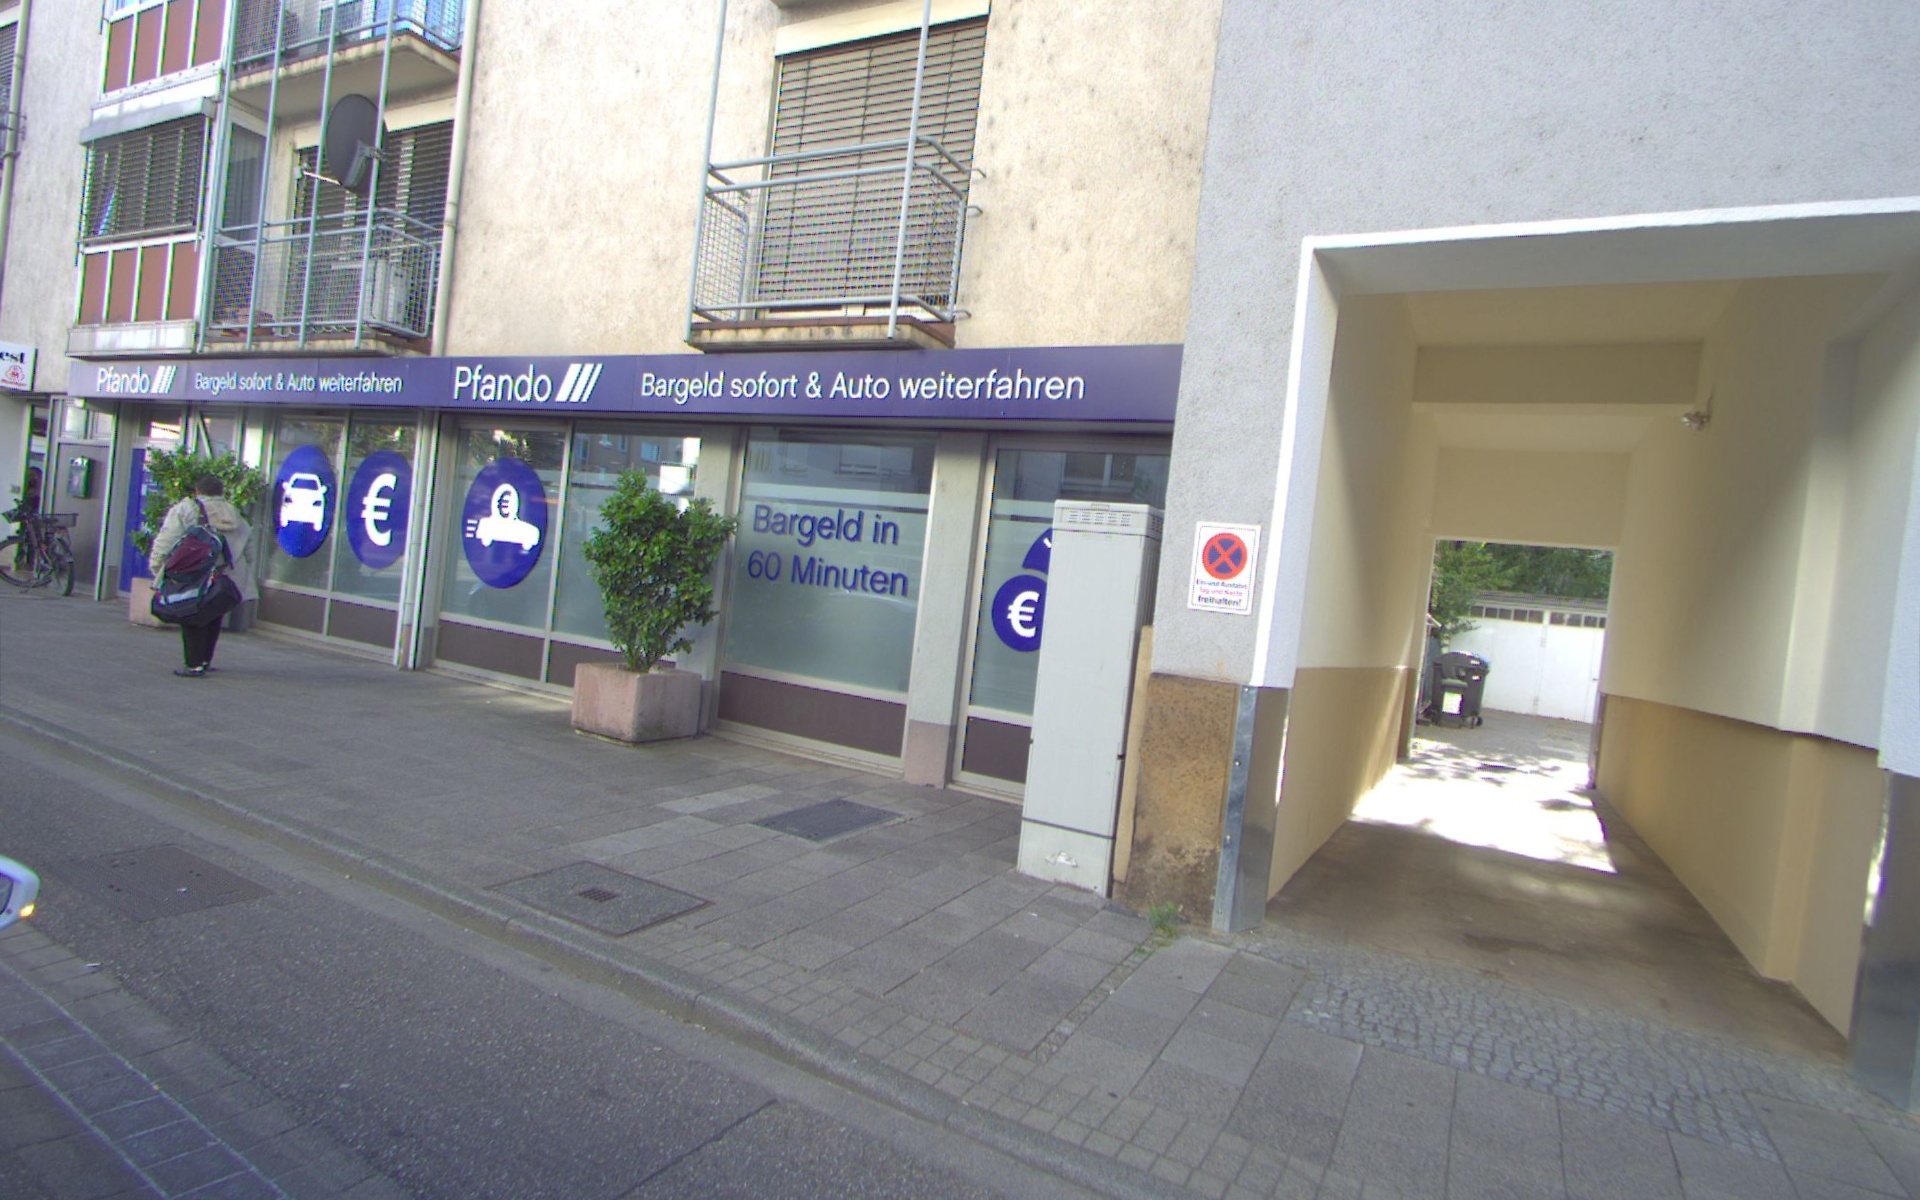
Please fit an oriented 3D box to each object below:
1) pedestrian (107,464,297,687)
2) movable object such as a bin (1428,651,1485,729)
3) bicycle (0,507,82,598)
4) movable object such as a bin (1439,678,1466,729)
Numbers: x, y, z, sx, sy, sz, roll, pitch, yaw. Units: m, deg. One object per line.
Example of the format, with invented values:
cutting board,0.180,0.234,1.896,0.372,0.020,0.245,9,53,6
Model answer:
pedestrian,-5.968,-0.177,7.943,0.738,1.611,0.827,6,-1,31
movable object such as a bin,9.947,1.782,20.152,0.873,1.411,0.758,7,2,28
bicycle,-11.924,-0.628,12.832,1.678,1.010,0.543,6,-1,32
movable object such as a bin,9.554,1.993,19.495,0.365,0.920,0.420,7,2,28
